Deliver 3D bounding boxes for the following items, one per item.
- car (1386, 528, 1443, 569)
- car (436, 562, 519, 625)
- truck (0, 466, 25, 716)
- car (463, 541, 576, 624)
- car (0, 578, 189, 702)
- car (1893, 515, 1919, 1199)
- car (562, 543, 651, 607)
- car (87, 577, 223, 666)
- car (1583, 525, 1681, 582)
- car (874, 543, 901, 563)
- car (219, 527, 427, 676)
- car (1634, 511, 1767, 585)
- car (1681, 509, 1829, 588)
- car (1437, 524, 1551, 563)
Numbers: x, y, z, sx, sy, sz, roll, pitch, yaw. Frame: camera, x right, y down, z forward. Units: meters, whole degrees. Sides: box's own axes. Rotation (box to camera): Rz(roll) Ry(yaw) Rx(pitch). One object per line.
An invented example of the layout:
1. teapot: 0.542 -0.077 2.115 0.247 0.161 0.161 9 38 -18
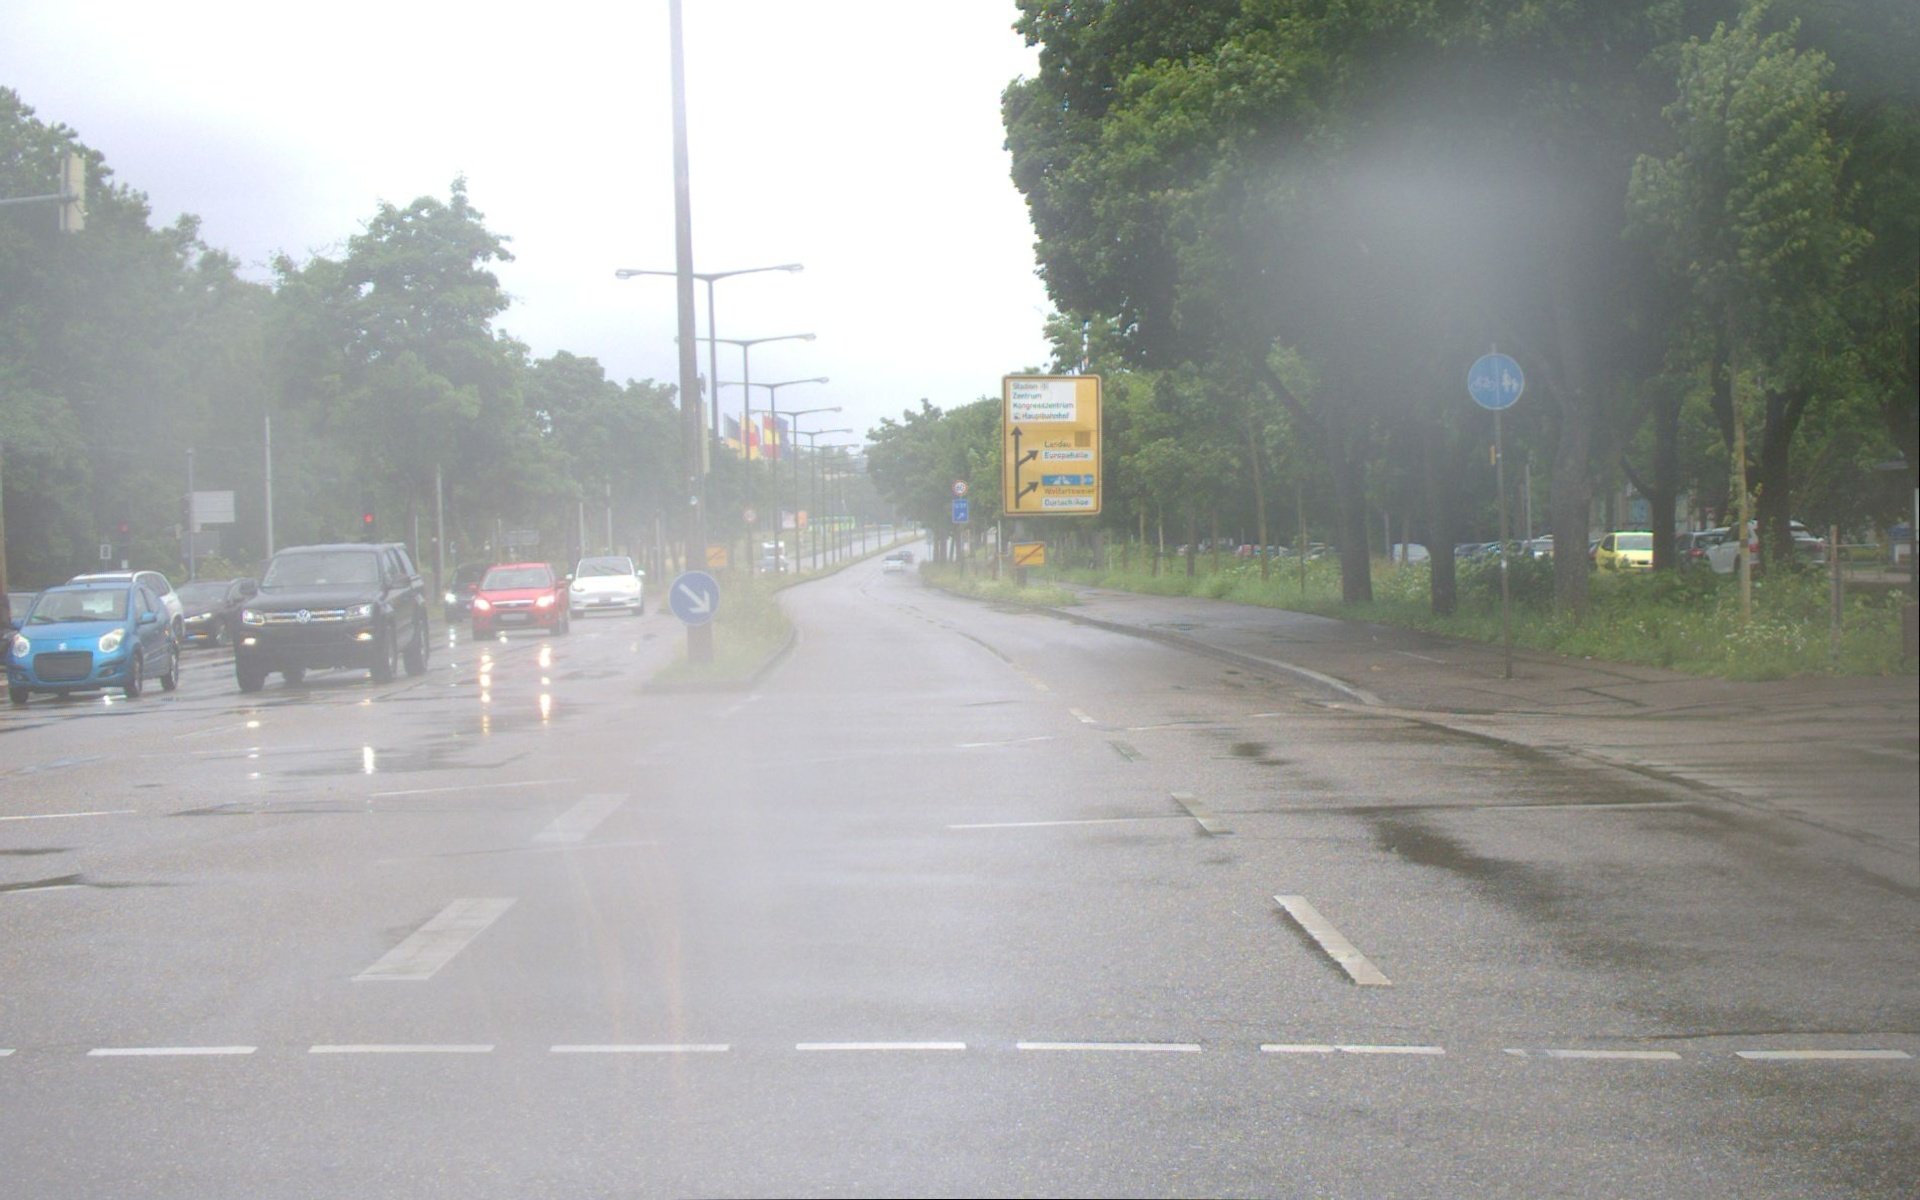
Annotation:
1. car: 17.669 -2.025 133.762 1.745 1.440 4.122 -2 2 1
2. car: -13.646 -0.210 97.494 1.707 1.636 4.331 -3 1 -1
3. truck: -17.561 -0.138 53.601 3.384 4.153 10.407 0 0 -2
4. car: -8.993 -0.344 70.447 1.801 1.564 4.429 -3 0 -2
5. car: -11.095 0.483 44.058 1.641 1.422 4.000 -3 0 -3
6. car: 2.873 0.658 4.924 1.884 1.605 4.196 0 1 -1
7. car: -9.496 -0.705 92.700 1.961 1.611 4.697 -2 1 -1
8. car: -17.133 0.438 73.388 1.993 1.821 4.772 0 0 -3
9. car: 18.074 -1.245 92.589 1.637 1.481 4.073 0 0 -3
10. car: -5.453 -3.562 259.627 1.907 1.509 4.000 -1 1 0
11. car: -8.264 -0.021 45.019 1.805 1.767 5.089 -3 1 -1
12. car: 18.214 -1.254 84.767 1.993 1.711 4.642 -2 0 -3
13. car: 18.253 -1.162 79.163 1.993 1.711 4.879 -2 0 -3
14. car: 23.302 -2.470 150.115 4.569 1.639 2.000 0 0 -6
